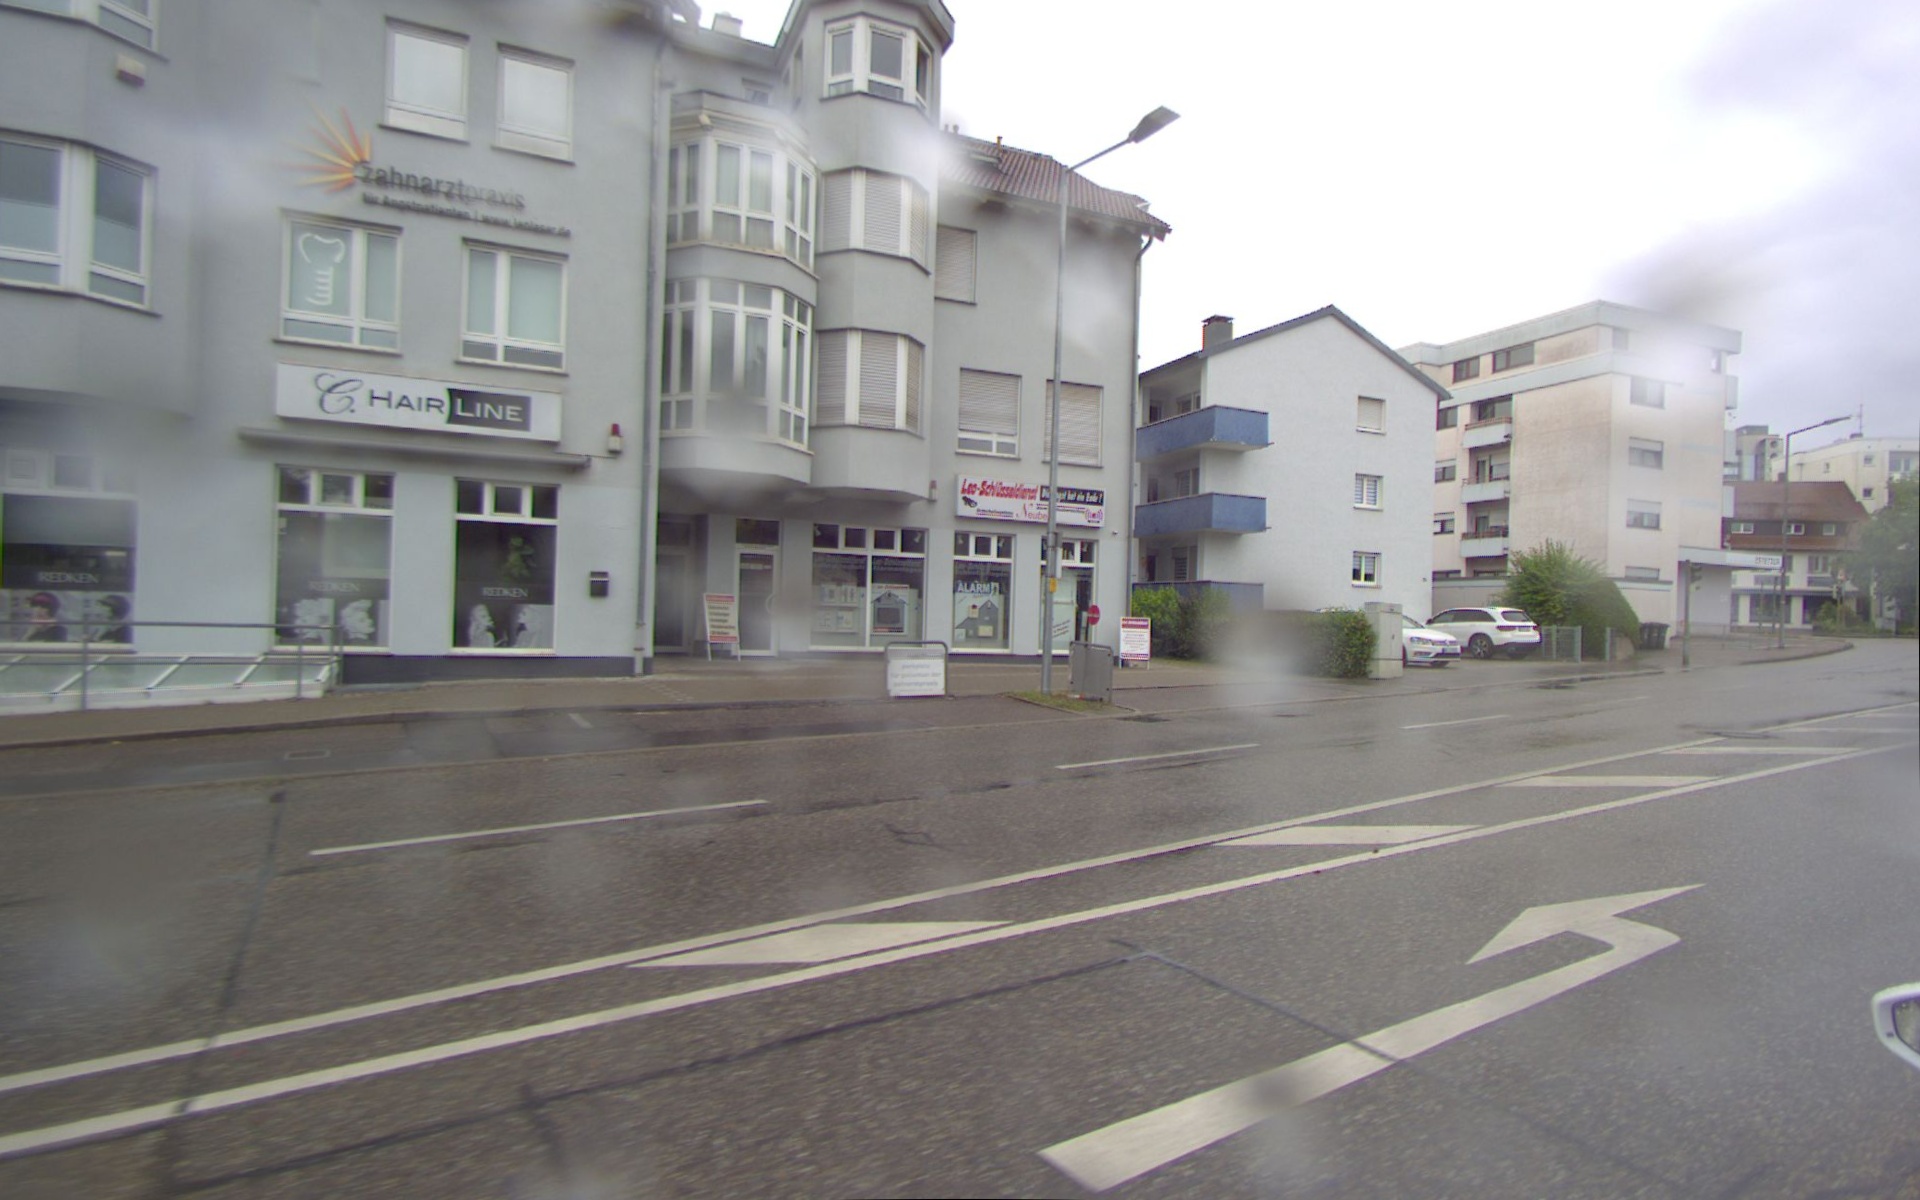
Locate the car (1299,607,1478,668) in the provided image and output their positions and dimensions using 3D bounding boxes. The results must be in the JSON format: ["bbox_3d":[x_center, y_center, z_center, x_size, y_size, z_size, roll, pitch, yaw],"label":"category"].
[{"bbox_3d":[11.366,0.945,26.946,1.880,1.493,4.203,1,0,-27],"label":"car"}]

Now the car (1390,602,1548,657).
[{"bbox_3d":[16.499,0.917,32.840,1.912,1.658,4.440,1,0,-23],"label":"car"}]
